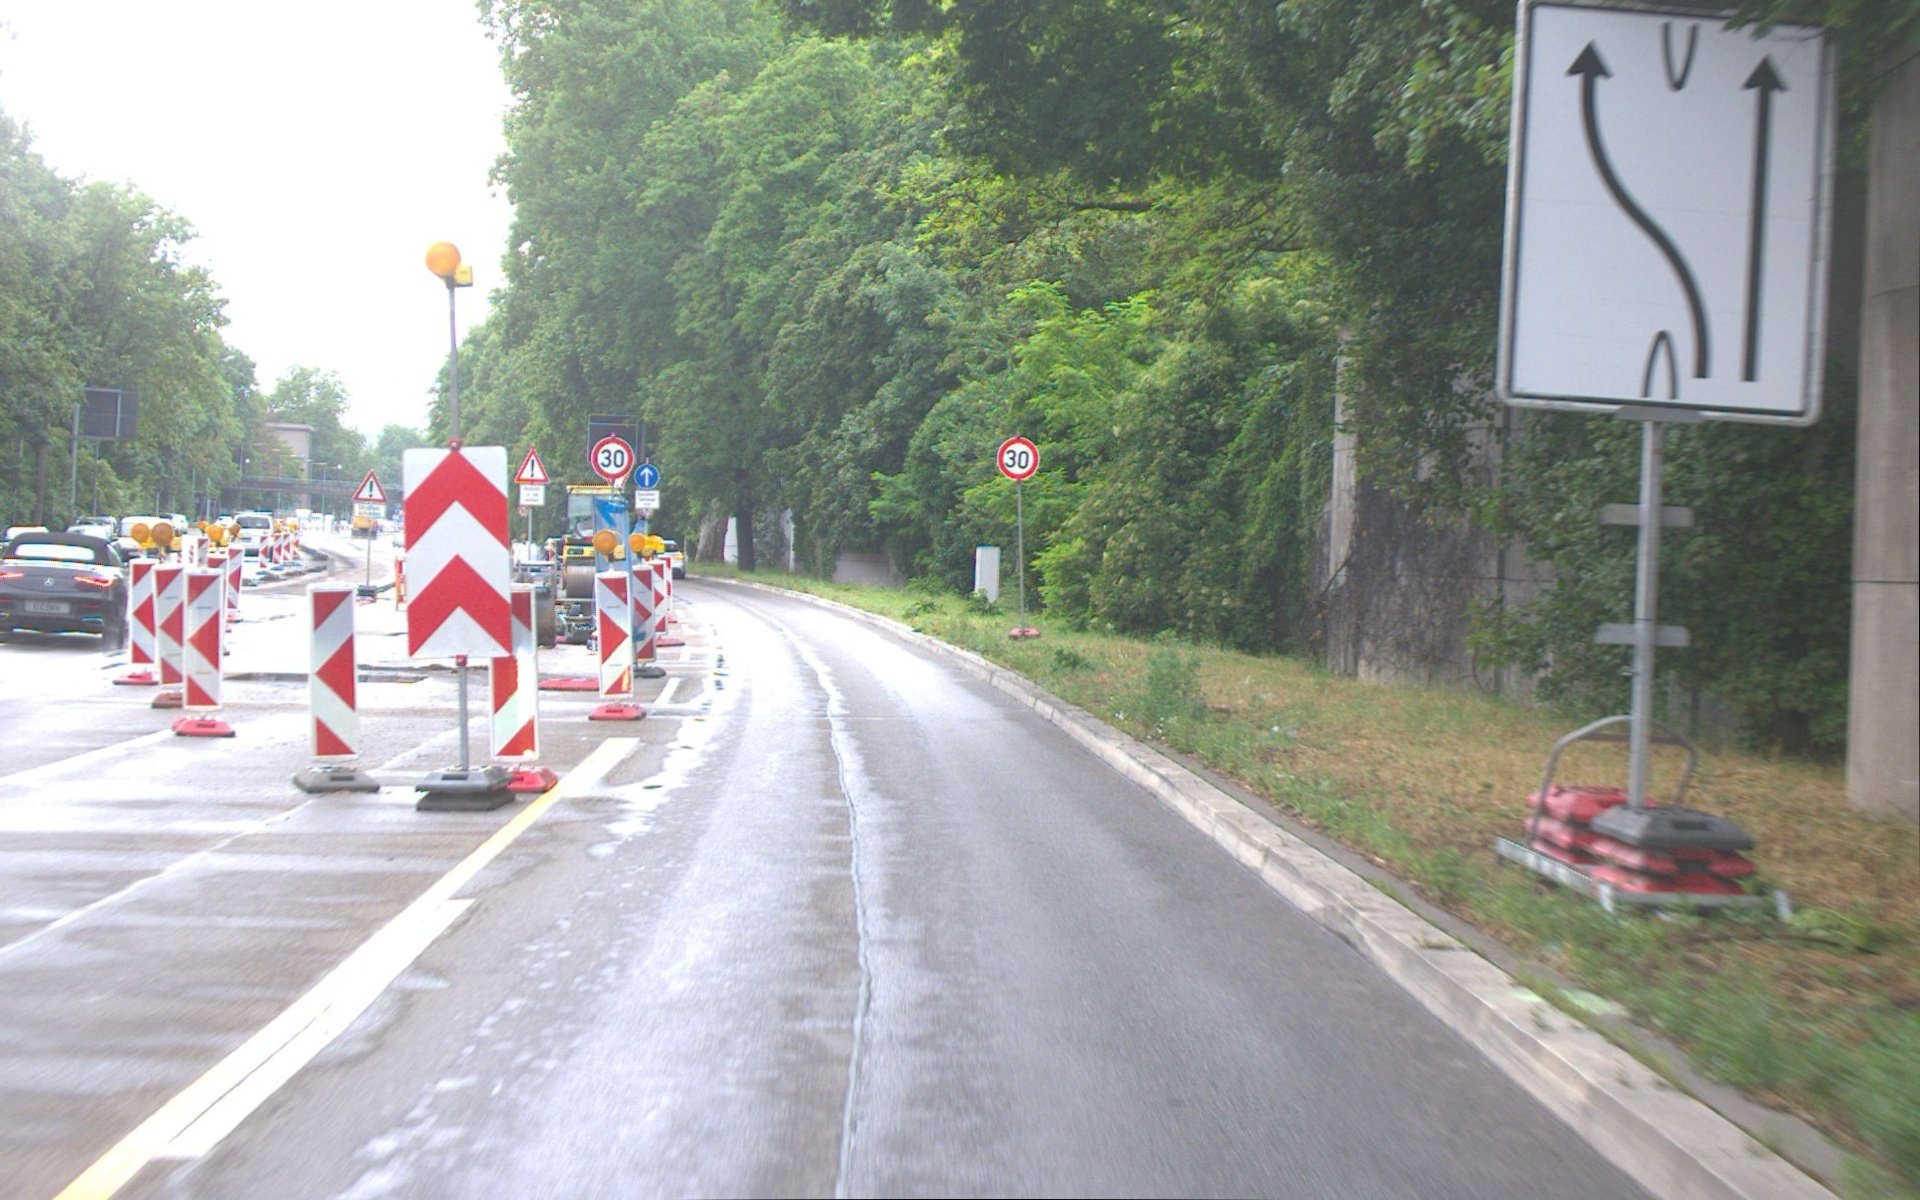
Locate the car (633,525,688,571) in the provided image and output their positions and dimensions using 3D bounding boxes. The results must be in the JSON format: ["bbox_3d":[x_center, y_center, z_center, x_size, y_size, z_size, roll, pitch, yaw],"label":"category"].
[{"bbox_3d":[-11.204,-1.964,128.732,1.914,1.592,4.835,2,2,-4],"label":"car"}]

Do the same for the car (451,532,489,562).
[{"bbox_3d":[-29.604,-3.231,207.884,1.875,1.612,4.001,4,1,-4],"label":"car"}]

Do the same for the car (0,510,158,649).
[{"bbox_3d":[-11.614,-0.298,44.541,1.861,1.486,4.002,3,3,-6],"label":"car"}]

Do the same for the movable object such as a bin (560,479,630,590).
[{"bbox_3d":[-9.639,-1.732,90.884,1.746,2.857,3.535,1,1,-6],"label":"movable object such as a bin"}]

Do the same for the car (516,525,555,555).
[{"bbox_3d":[-21.770,-3.086,176.061,1.756,1.339,4.002,3,2,-10],"label":"car"}]
